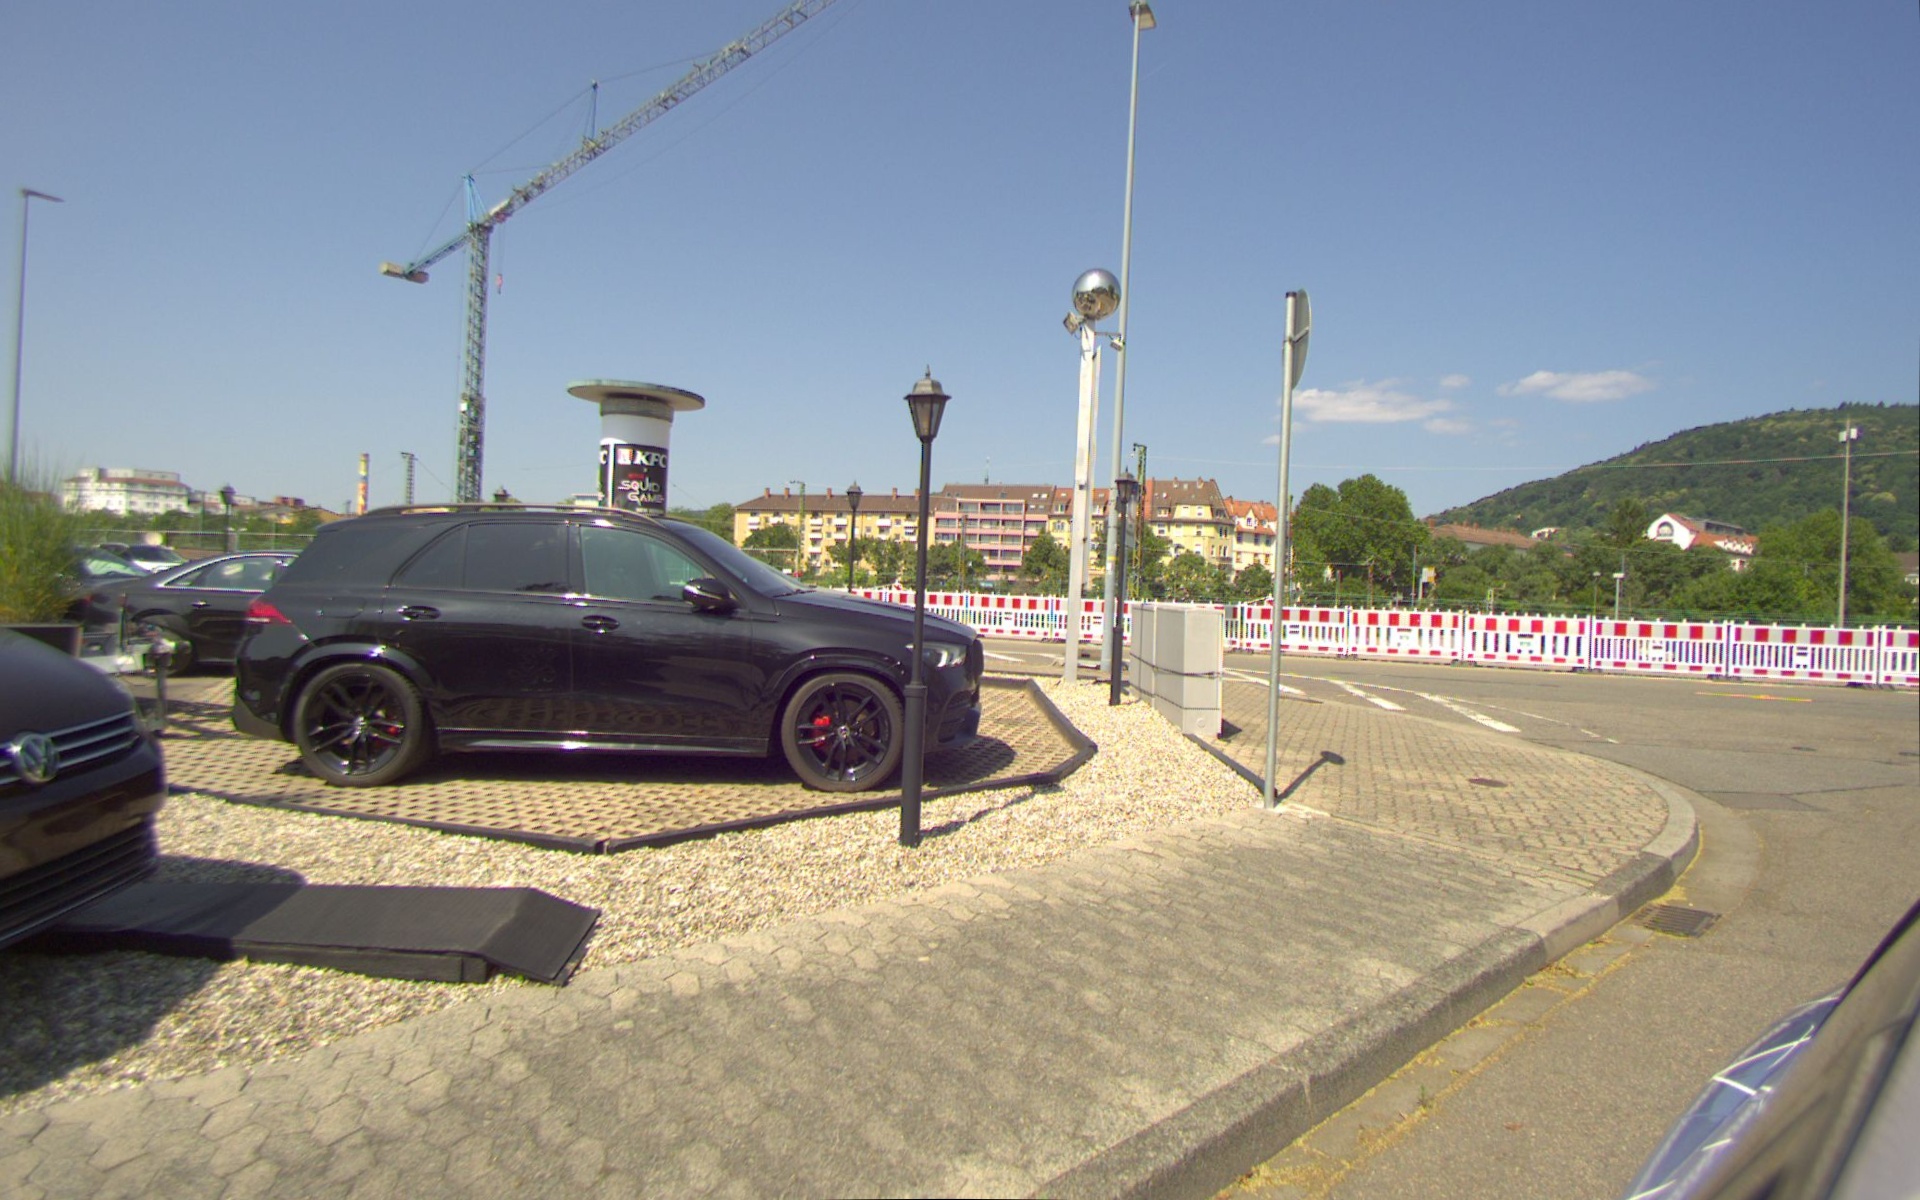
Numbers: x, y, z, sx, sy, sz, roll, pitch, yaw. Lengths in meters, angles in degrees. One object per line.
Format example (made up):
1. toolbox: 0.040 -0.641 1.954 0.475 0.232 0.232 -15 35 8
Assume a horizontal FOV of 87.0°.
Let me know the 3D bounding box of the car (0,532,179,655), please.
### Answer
1. car: -13.279 -0.143 13.984 3.687 1.569 1.648 2 1 -1

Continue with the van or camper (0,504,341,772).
1. van or camper: -7.407 0.163 7.862 4.227 1.705 1.993 2 1 12

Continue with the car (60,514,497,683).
1. car: -7.872 -0.043 11.963 3.925 1.727 1.861 2 1 1

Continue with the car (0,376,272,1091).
1. car: -4.535 0.281 2.583 4.203 1.804 1.856 1 2 -7

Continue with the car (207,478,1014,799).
1. car: -2.107 0.221 7.050 4.724 1.801 2.018 2 1 -2

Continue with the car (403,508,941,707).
1. car: -2.751 0.087 10.279 4.716 1.713 2.022 1 1 -15

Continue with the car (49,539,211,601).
1. car: -24.095 -0.884 29.401 3.952 1.660 1.986 2 1 21
